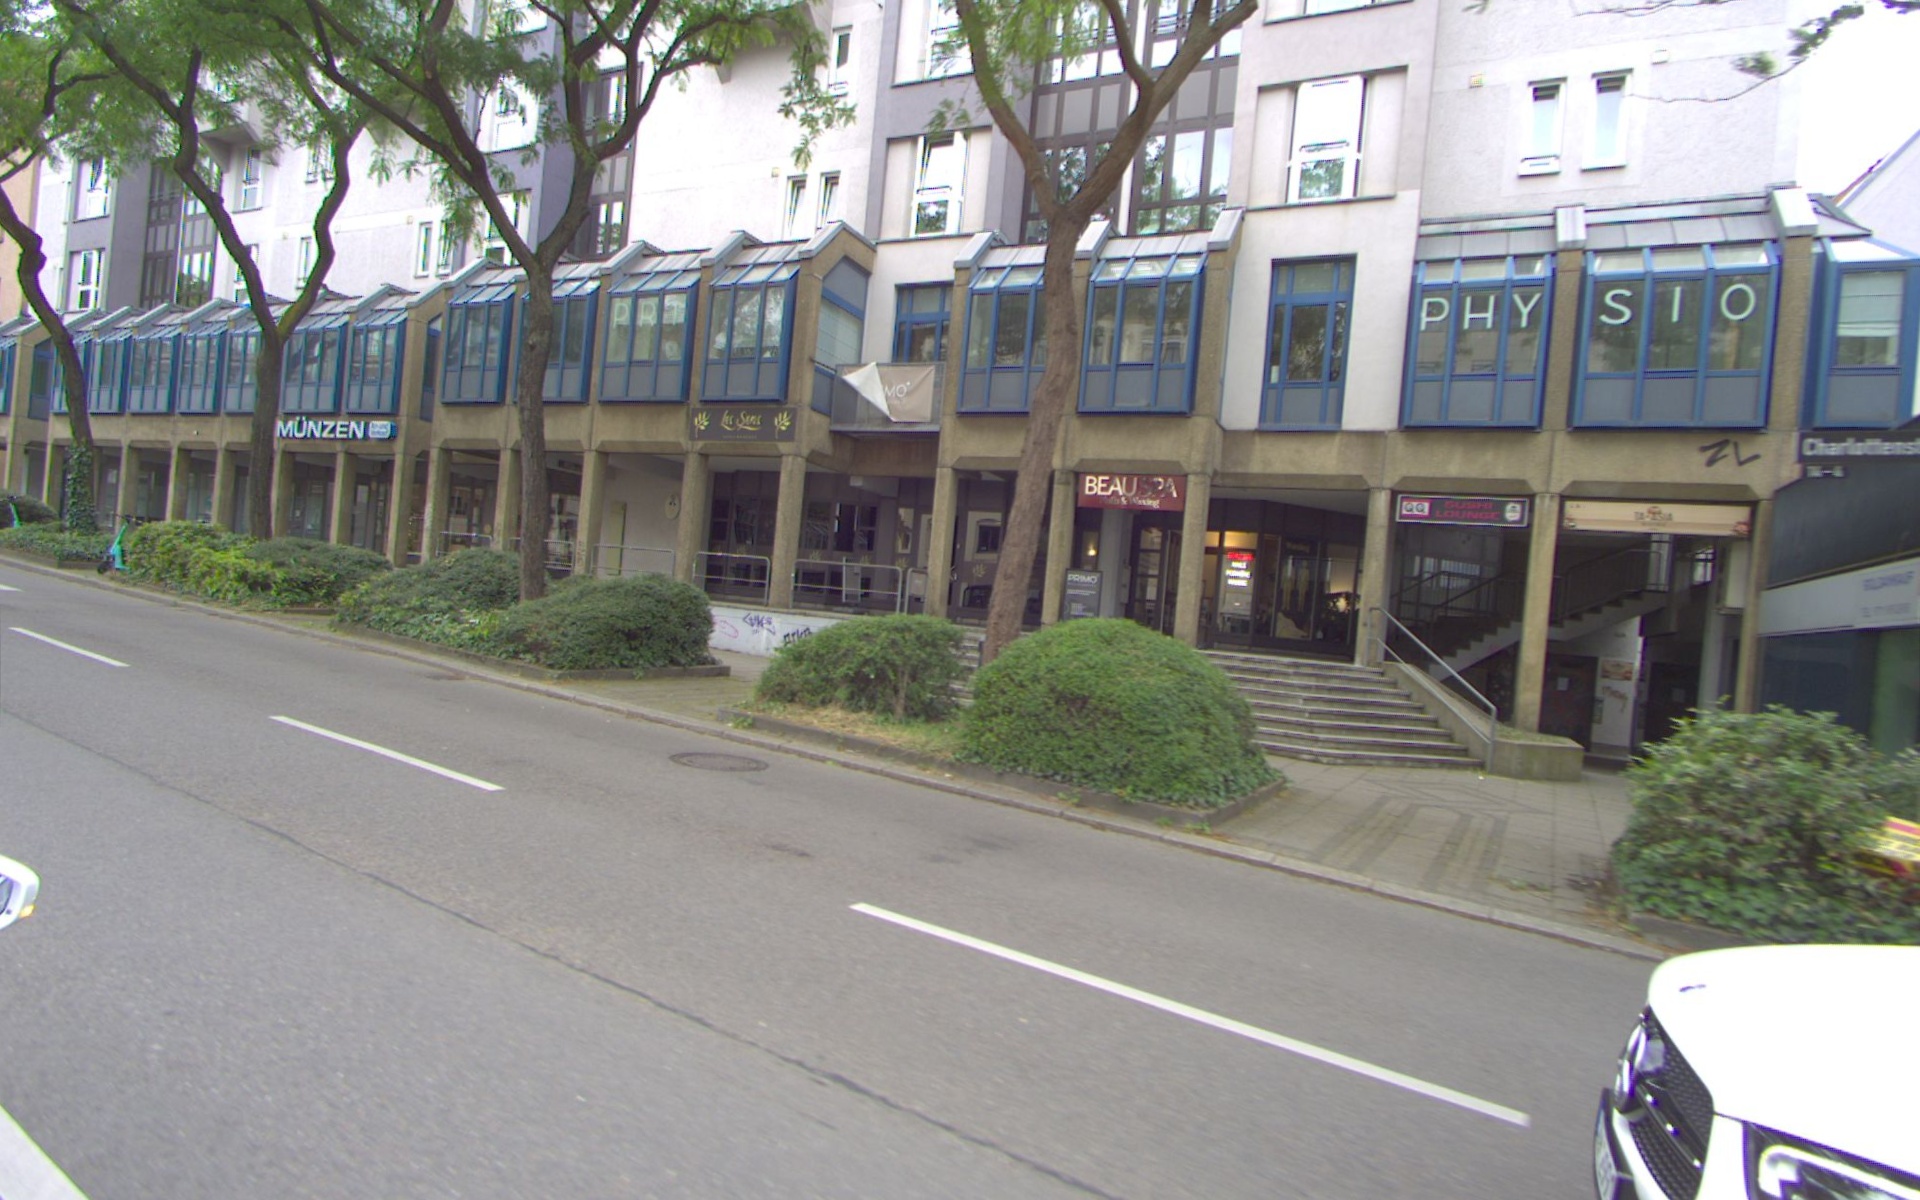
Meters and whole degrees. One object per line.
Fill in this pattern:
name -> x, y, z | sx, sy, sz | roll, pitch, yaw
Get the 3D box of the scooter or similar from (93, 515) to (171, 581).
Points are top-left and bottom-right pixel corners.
scooter or similar -> -16.524, -1.030, 20.084 | 0.421, 1.197, 1.105 | 8, 3, 41

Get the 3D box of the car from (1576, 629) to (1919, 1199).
car -> 3.290, 1.106, 1.102 | 4.261, 1.668, 1.803 | 6, 1, 31
